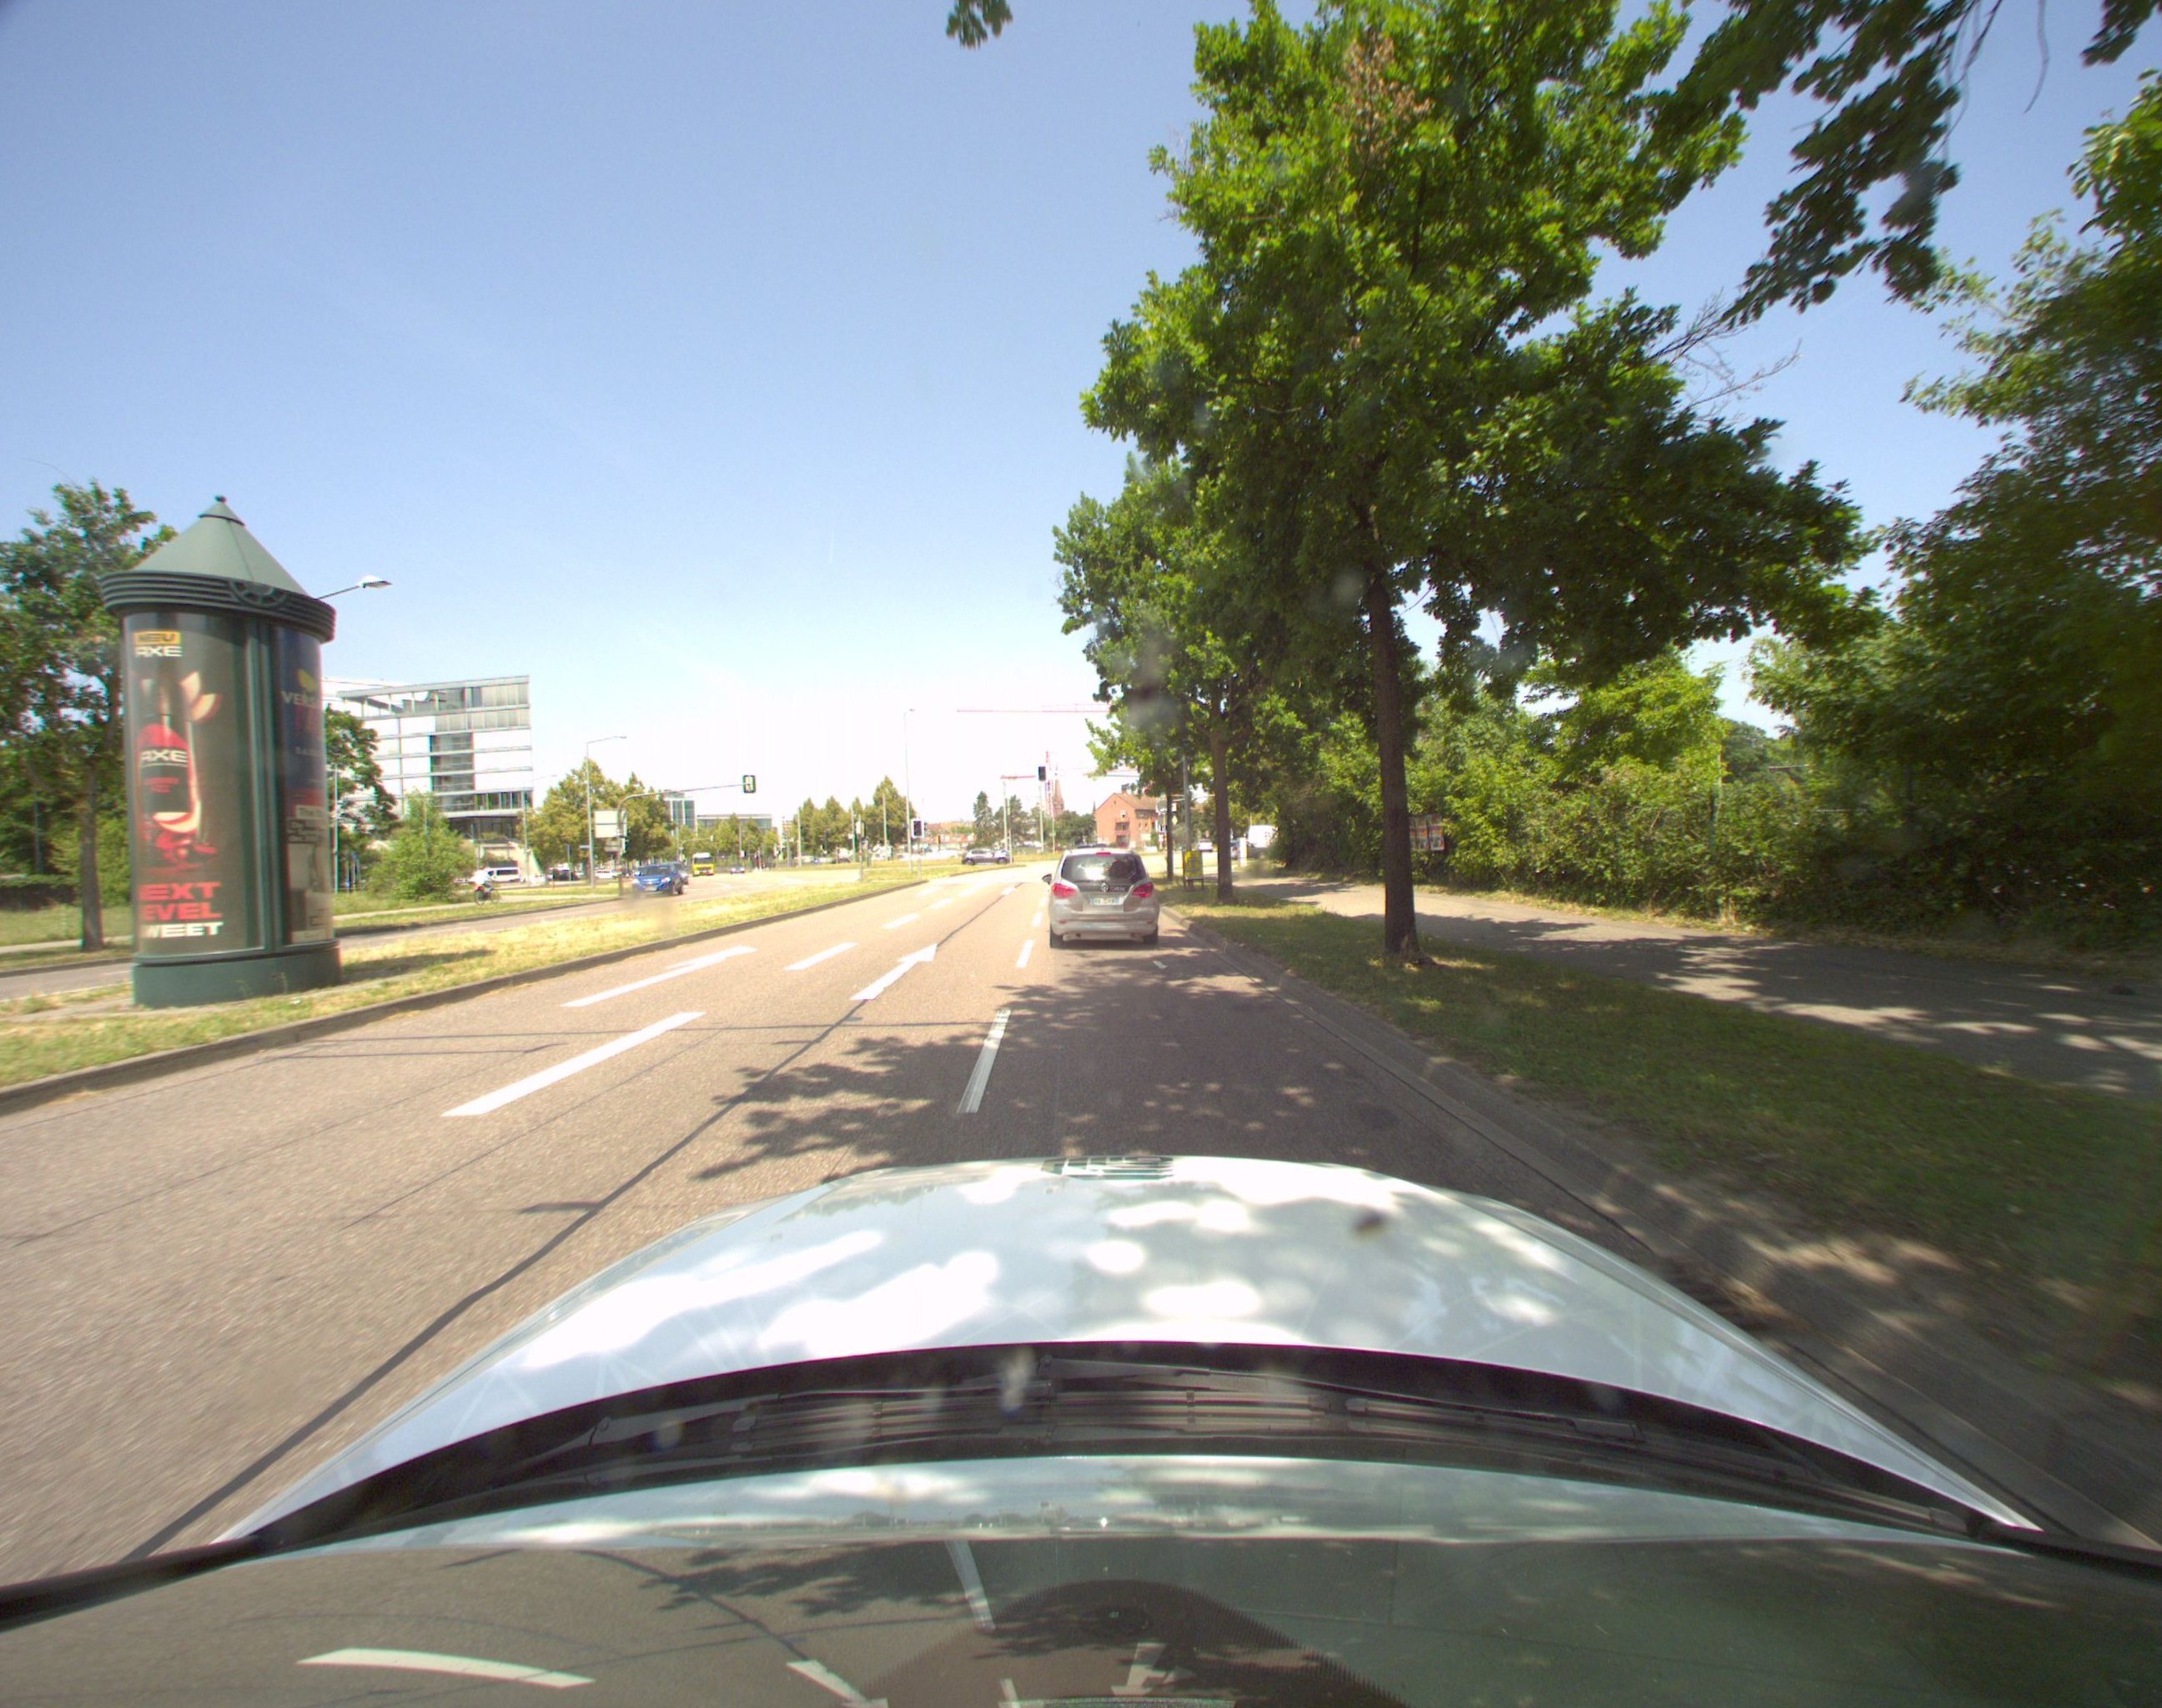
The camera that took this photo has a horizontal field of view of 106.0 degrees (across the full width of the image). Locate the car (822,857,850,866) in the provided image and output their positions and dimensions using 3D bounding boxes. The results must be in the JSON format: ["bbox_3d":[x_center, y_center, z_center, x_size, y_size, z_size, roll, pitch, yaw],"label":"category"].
[{"bbox_3d":[-39.597,1.251,131.645,3.951,1.288,2.011,-2,0,23],"label":"car"}]

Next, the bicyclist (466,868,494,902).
[{"bbox_3d":[-27.333,1.407,37.042,0.621,1.489,0.757,-2,0,2],"label":"bicyclist"}]

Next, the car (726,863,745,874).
[{"bbox_3d":[-42.279,1.742,99.559,1.859,1.276,3.966,-2,0,-26],"label":"car"}]

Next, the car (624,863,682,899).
[{"bbox_3d":[-21.151,1.299,40.369,2.001,1.596,3.972,-2,0,-21],"label":"car"}]

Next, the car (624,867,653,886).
[{"bbox_3d":[-35.784,1.790,65.783,1.753,1.424,3.800,-2,0,-33],"label":"car"}]

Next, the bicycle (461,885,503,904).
[{"bbox_3d":[-27.291,1.830,37.155,0.479,0.715,1.851,-2,0,2],"label":"bicycle"}]

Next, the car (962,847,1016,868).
[{"bbox_3d":[-7.167,0.265,63.900,3.975,1.453,2.000,-2,0,-1],"label":"car"}]

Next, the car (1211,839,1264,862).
[{"bbox_3d":[11.165,-0.279,57.985,1.925,1.442,4.025,-2,0,41],"label":"car"}]

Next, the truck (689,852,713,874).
[{"bbox_3d":[-47.961,1.181,102.634,2.368,2.594,6.354,-2,0,-28],"label":"truck"}]

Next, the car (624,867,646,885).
[{"bbox_3d":[-41.659,2.025,76.147,1.682,1.537,3.826,-2,0,-28],"label":"car"}]

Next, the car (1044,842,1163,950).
[{"bbox_3d":[0.269,0.626,14.377,1.788,1.612,3.887,-1,0,-2],"label":"car"}]

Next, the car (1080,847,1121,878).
[{"bbox_3d":[1.042,0.403,43.925,2.007,1.517,4.461,-2,0,1],"label":"car"}]

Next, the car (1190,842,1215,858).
[{"bbox_3d":[13.270,-0.432,88.672,1.978,1.649,4.018,-2,0,17],"label":"car"}]

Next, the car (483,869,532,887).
[{"bbox_3d":[-68.283,2.848,96.992,1.974,1.878,4.317,-2,0,35],"label":"car"}]

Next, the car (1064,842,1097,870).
[{"bbox_3d":[-0.031,0.069,52.596,1.991,1.689,4.034,-1,1,0],"label":"car"}]

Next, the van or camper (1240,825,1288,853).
[{"bbox_3d":[15.921,-1.331,70.649,2.469,2.291,4.952,-2,0,32],"label":"van or camper"}]
